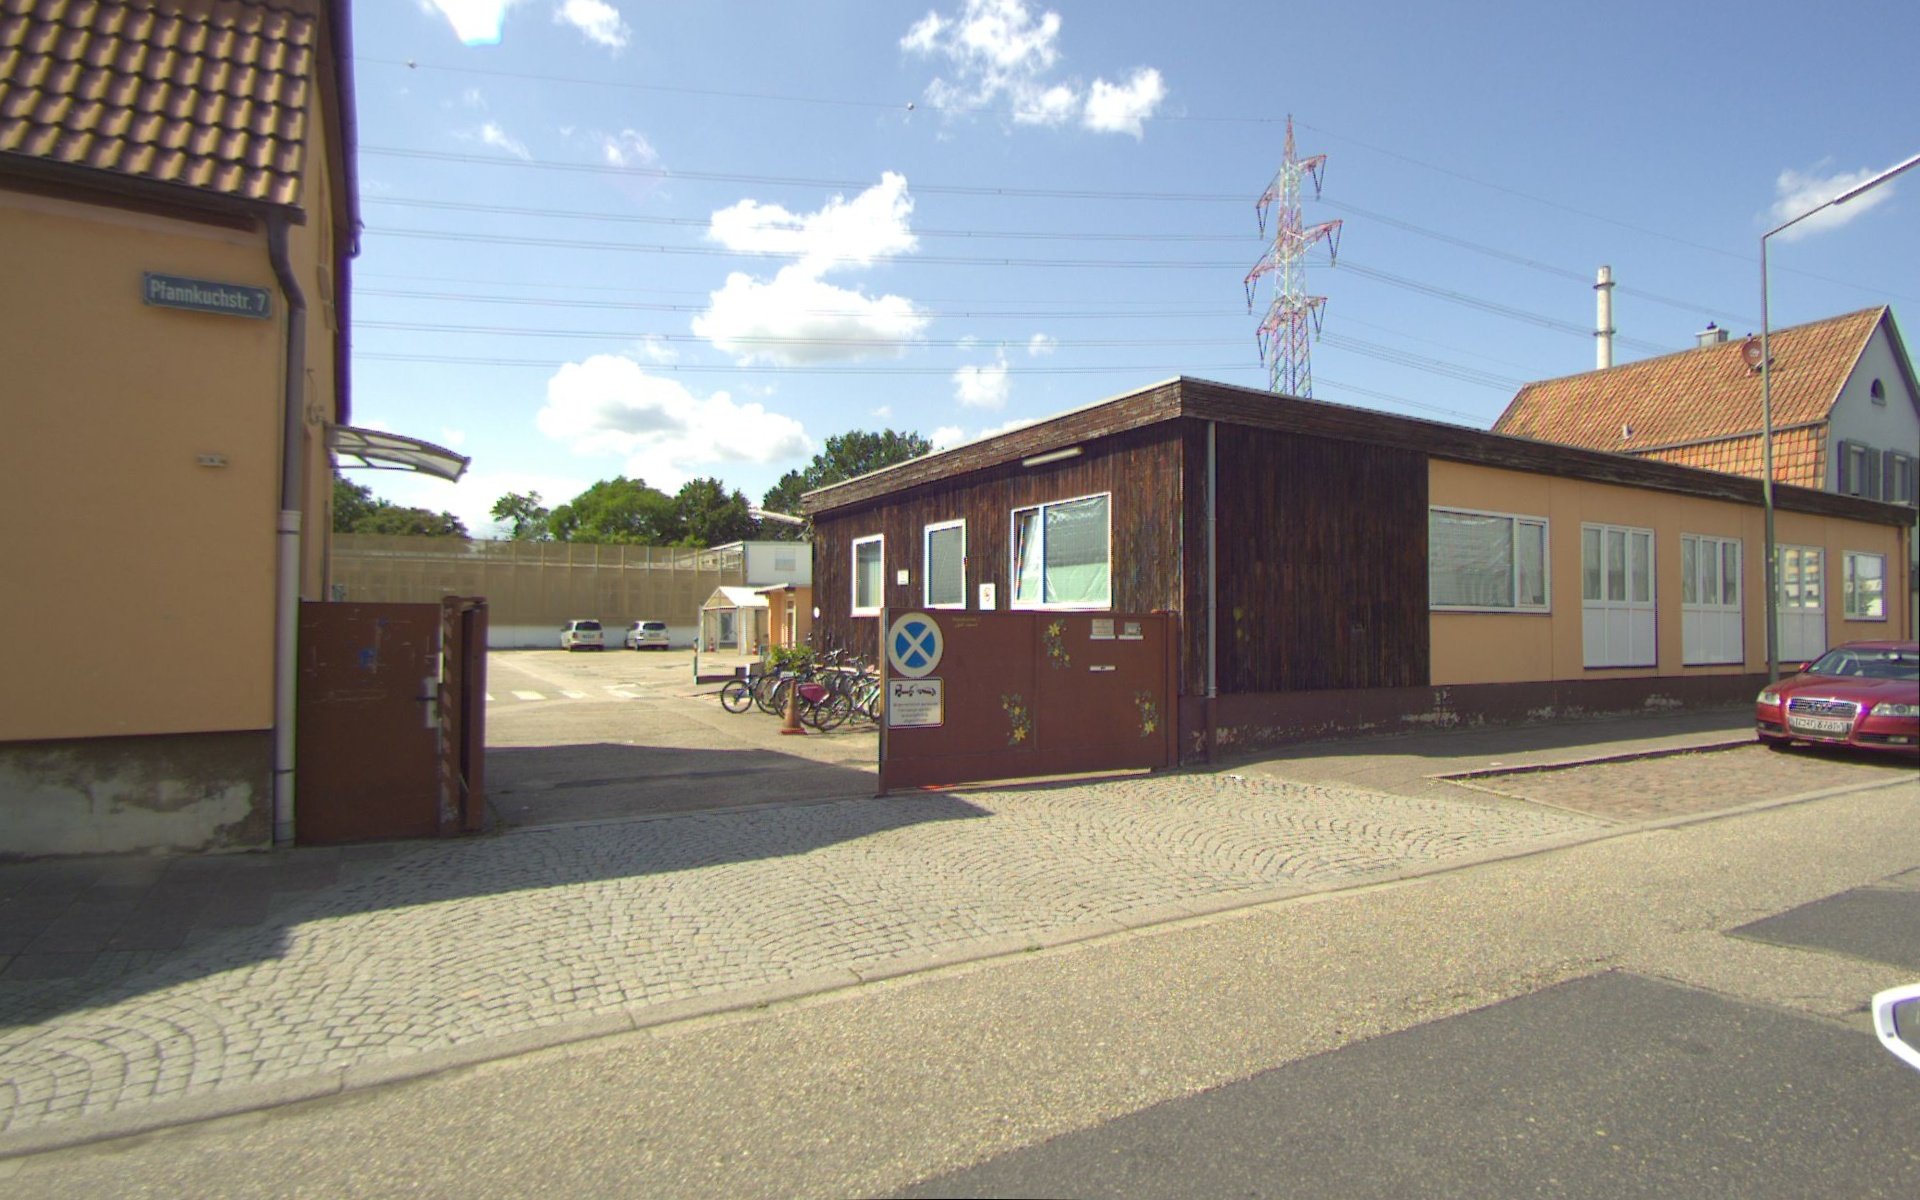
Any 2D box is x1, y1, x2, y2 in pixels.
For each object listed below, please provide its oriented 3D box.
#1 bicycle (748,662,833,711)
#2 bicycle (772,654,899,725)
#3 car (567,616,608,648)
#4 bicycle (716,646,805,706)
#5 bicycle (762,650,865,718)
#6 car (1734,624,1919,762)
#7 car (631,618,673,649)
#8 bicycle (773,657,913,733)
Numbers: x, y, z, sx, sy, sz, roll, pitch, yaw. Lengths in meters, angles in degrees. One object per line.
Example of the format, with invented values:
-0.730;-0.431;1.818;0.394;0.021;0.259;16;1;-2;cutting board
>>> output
-3.068;1.556;18.255;1.495;0.742;0.421;-1;2;-34;bicycle
-2.005;1.424;16.342;2.025;0.965;0.545;-1;2;-34;bicycle
-19.855;1.693;53.471;1.807;1.594;3.978;2;-2;-23;car
-3.674;1.385;18.549;1.569;1.009;0.370;-1;2;-28;bicycle
-2.491;1.418;17.221;1.705;1.009;0.498;-1;2;-34;bicycle
12.389;1.139;13.266;4.685;1.467;1.753;2;1;-30;car
-16.943;1.799;55.140;1.807;1.594;3.978;2;-2;-23;car
-1.793;1.441;15.576;2.122;0.968;0.625;-1;2;-34;bicycle
